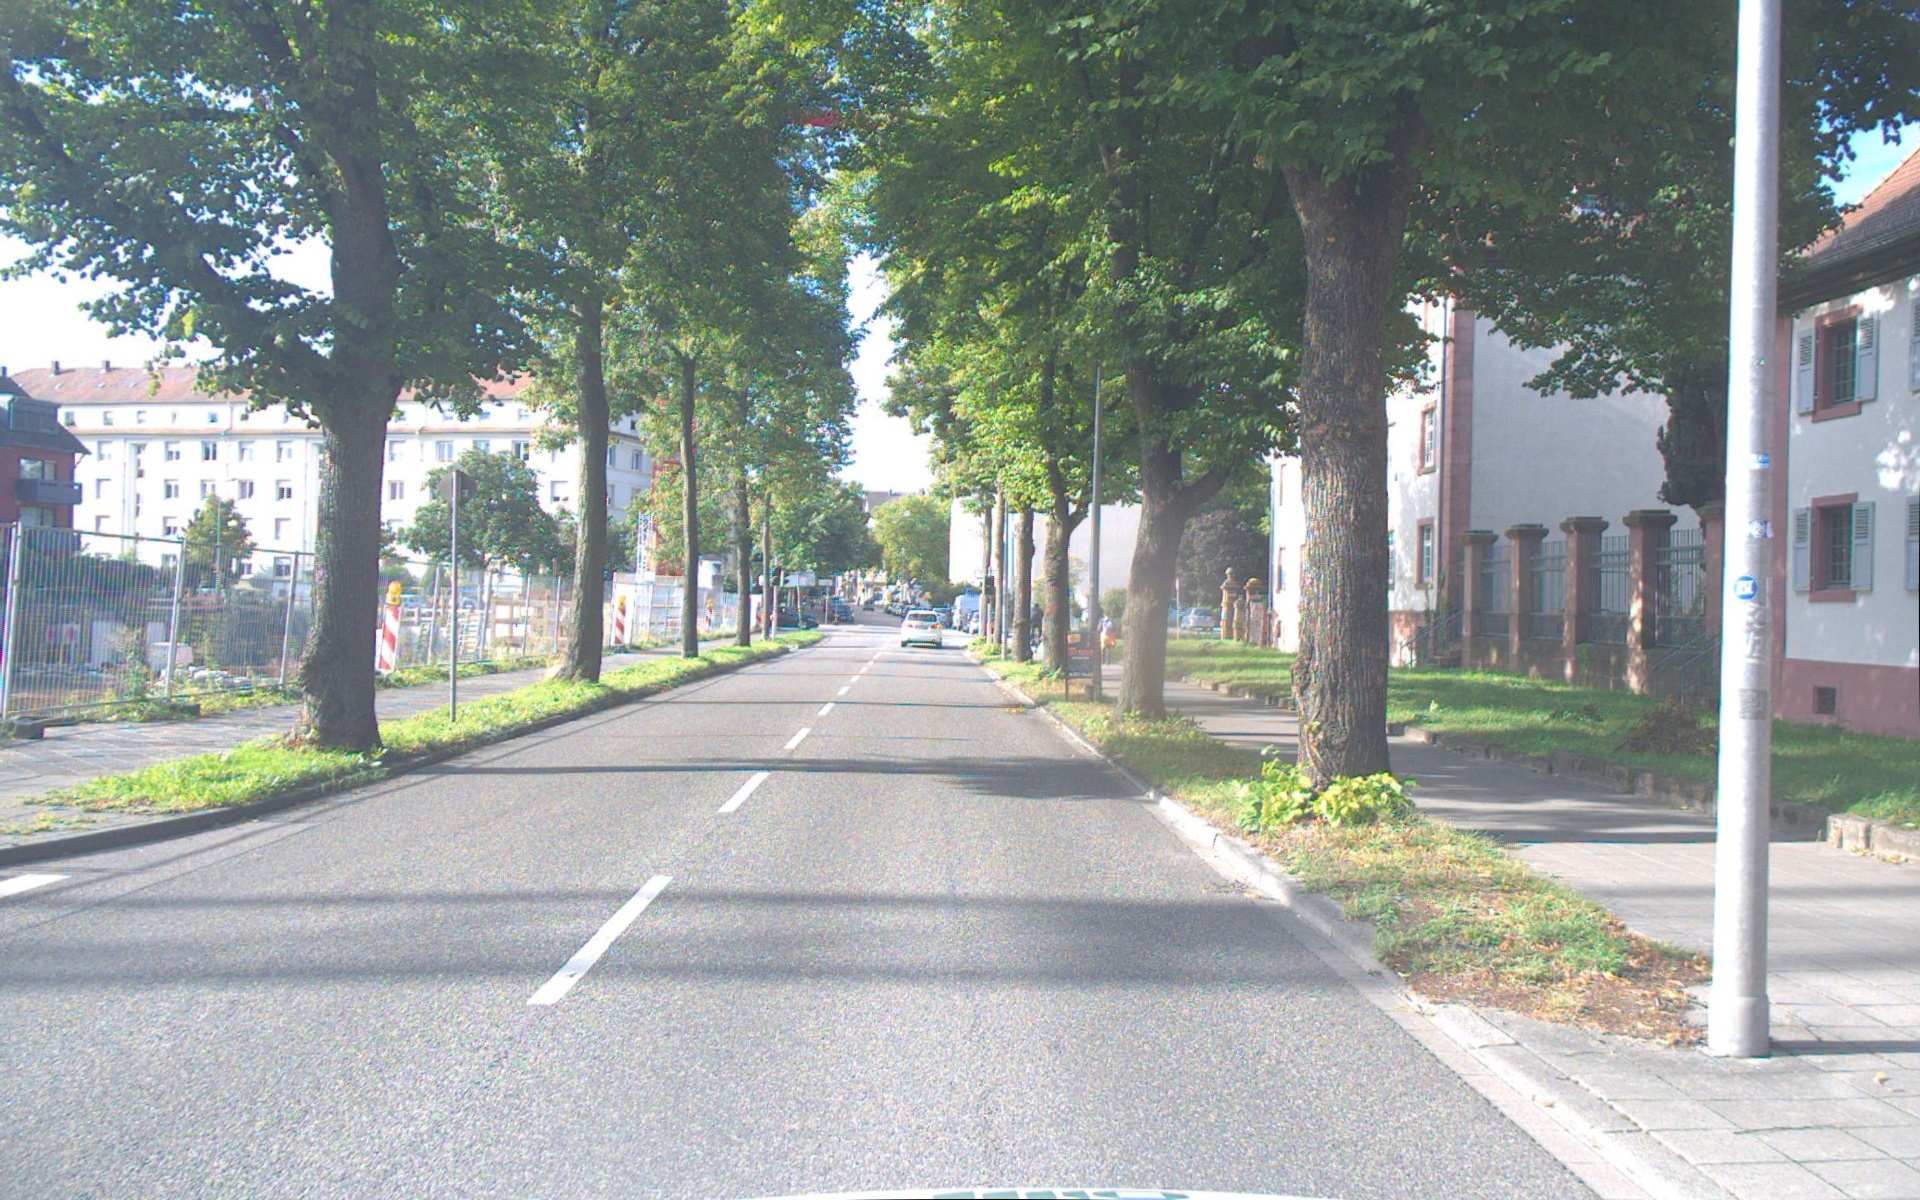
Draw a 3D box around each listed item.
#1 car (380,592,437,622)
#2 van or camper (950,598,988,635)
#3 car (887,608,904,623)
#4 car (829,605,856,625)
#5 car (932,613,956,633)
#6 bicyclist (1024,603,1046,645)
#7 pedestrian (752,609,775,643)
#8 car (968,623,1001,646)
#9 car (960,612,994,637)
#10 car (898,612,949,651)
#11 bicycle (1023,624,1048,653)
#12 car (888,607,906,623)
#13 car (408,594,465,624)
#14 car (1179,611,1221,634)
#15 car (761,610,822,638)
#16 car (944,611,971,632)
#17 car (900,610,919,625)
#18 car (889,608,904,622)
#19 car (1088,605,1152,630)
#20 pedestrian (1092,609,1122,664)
[{"bbox_3d":[-38.567,0.520,115.733,1.951,2.049,4.003,1,0,13],"label":"car"},{"bbox_3d":[0.621,1.168,120.702,2.166,2.653,5.365,1,0,-6],"label":"van or camper"},{"bbox_3d":[-8.087,1.992,208.402,1.953,1.786,3.999,2,-1,-1],"label":"car"},{"bbox_3d":[-9.729,1.232,137.002,1.956,1.668,3.993,1,0,-8],"label":"car"},{"bbox_3d":[-1.371,1.966,142.418,1.954,1.601,3.998,1,0,-3],"label":"car"},{"bbox_3d":[2.822,0.897,62.223,0.722,1.540,0.874,-1,-1,-2],"label":"bicyclist"},{"bbox_3d":[-10.218,1.356,86.026,0.990,1.758,1.174,2,-2,-14],"label":"pedestrian"},{"bbox_3d":[1.580,2.233,107.628,1.974,1.501,4.801,0,-1,-1],"label":"car"},{"bbox_3d":[1.129,1.670,114.982,1.954,1.644,4.403,1,0,-5],"label":"car"},{"bbox_3d":[-1.646,1.357,72.950,1.955,1.582,4.269,2,-1,-5],"label":"car"},{"bbox_3d":[2.830,1.445,62.177,0.725,1.053,2.761,-1,-1,-2],"label":"bicycle"},{"bbox_3d":[-7.395,1.763,195.127,1.953,1.786,3.999,2,-1,-1],"label":"car"},{"bbox_3d":[-36.280,0.634,114.779,1.951,2.049,4.003,1,0,13],"label":"car"},{"bbox_3d":[15.990,1.507,110.474,1.954,1.467,3.996,1,0,-4],"label":"car"},{"bbox_3d":[-10.228,1.468,100.484,1.954,1.598,3.998,2,-1,24],"label":"car"},{"bbox_3d":[-0.234,1.720,131.903,1.954,1.601,3.998,1,0,-3],"label":"car"},{"bbox_3d":[-5.512,1.917,179.162,1.954,1.601,3.998,1,0,-3],"label":"car"},{"bbox_3d":[-8.805,2.127,228.938,1.953,1.786,3.999,2,-1,-1],"label":"car"},{"bbox_3d":[11.283,1.219,116.546,4.356,1.650,2.000,1,0,2],"label":"car"},{"bbox_3d":[4.414,1.101,49.665,0.797,1.618,0.769,-1,-1,-3],"label":"pedestrian"}]
